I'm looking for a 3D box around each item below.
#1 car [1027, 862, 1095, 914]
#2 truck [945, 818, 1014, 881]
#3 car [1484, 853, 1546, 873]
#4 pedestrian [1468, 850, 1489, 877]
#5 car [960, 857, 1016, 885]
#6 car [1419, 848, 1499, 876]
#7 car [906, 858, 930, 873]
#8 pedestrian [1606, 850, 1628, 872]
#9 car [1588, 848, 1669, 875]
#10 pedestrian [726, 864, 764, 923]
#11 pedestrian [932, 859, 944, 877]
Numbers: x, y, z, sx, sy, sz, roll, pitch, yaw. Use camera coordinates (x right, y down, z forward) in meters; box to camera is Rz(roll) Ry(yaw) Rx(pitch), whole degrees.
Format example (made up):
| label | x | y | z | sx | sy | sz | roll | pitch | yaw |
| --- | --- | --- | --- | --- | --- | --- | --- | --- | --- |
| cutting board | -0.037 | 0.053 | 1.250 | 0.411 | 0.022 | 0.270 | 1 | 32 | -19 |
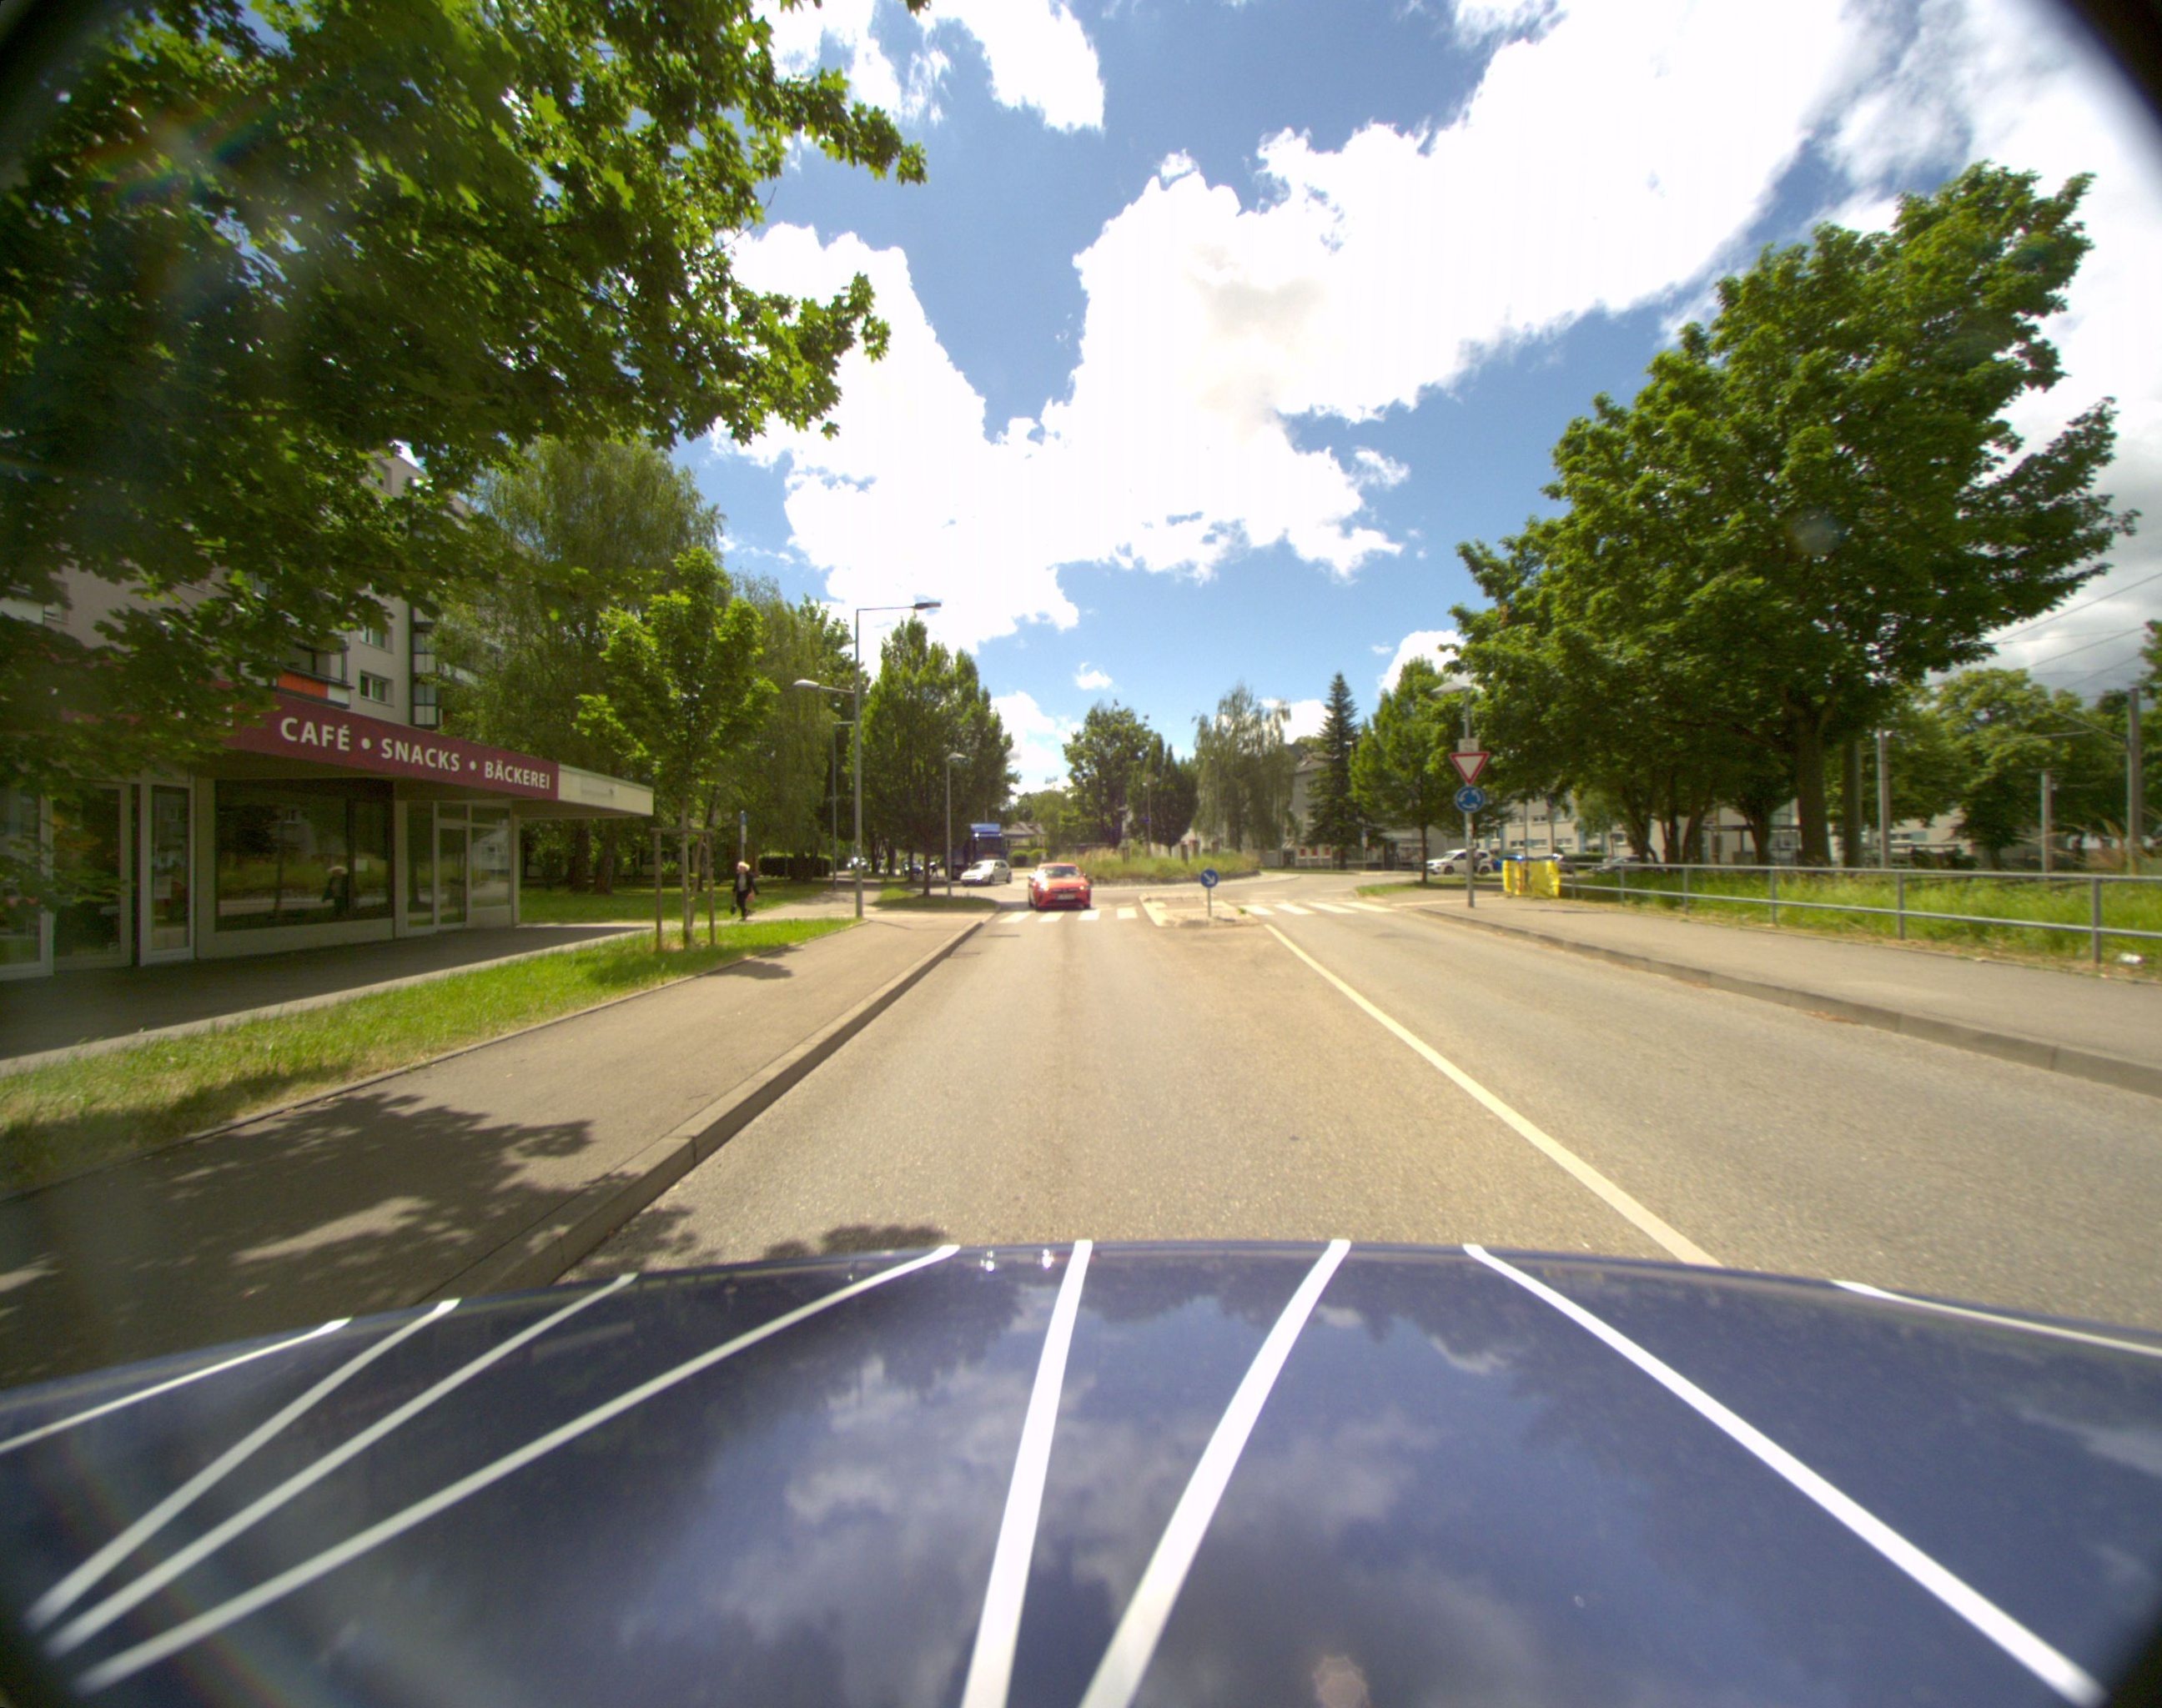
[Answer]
| label | x | y | z | sx | sy | sz | roll | pitch | yaw |
| --- | --- | --- | --- | --- | --- | --- | --- | --- | --- |
| car | -0.704 | 1.024 | 24.147 | 1.713 | 1.439 | 3.667 | -2 | 0 | -8 |
| truck | -7.422 | -0.292 | 54.080 | 2.634 | 4.069 | 9.591 | -1 | 0 | -21 |
| car | 34.711 | 0.724 | 60.910 | 1.811 | 1.514 | 4.116 | -1 | 0 | -19 |
| pedestrian | 24.642 | 0.587 | 47.093 | 0.874 | 1.655 | 1.023 | 0 | 1 | 9 |
| car | -5.298 | 0.944 | 43.783 | 1.758 | 1.514 | 3.830 | 0 | 0 | 17 |
| car | 25.616 | 0.537 | 51.552 | 4.619 | 1.786 | 1.998 | 0 | 0 | -10 |
| car | -15.547 | 1.052 | 72.541 | 1.811 | 1.346 | 3.993 | -1 | 0 | -18 |
| pedestrian | 40.508 | 0.545 | 57.467 | 1.022 | 1.655 | 0.875 | 0 | 1 | -4 |
| car | 39.009 | 0.518 | 54.194 | 4.618 | 1.786 | 1.998 | 0 | 0 | -8 |
| pedestrian | -9.009 | 1.053 | 20.405 | 0.726 | 1.529 | 0.654 | 0 | 1 | -2 |
| pedestrian | -11.461 | 1.089 | 60.939 | 0.691 | 1.416 | 0.922 | 0 | 1 | 6 |
